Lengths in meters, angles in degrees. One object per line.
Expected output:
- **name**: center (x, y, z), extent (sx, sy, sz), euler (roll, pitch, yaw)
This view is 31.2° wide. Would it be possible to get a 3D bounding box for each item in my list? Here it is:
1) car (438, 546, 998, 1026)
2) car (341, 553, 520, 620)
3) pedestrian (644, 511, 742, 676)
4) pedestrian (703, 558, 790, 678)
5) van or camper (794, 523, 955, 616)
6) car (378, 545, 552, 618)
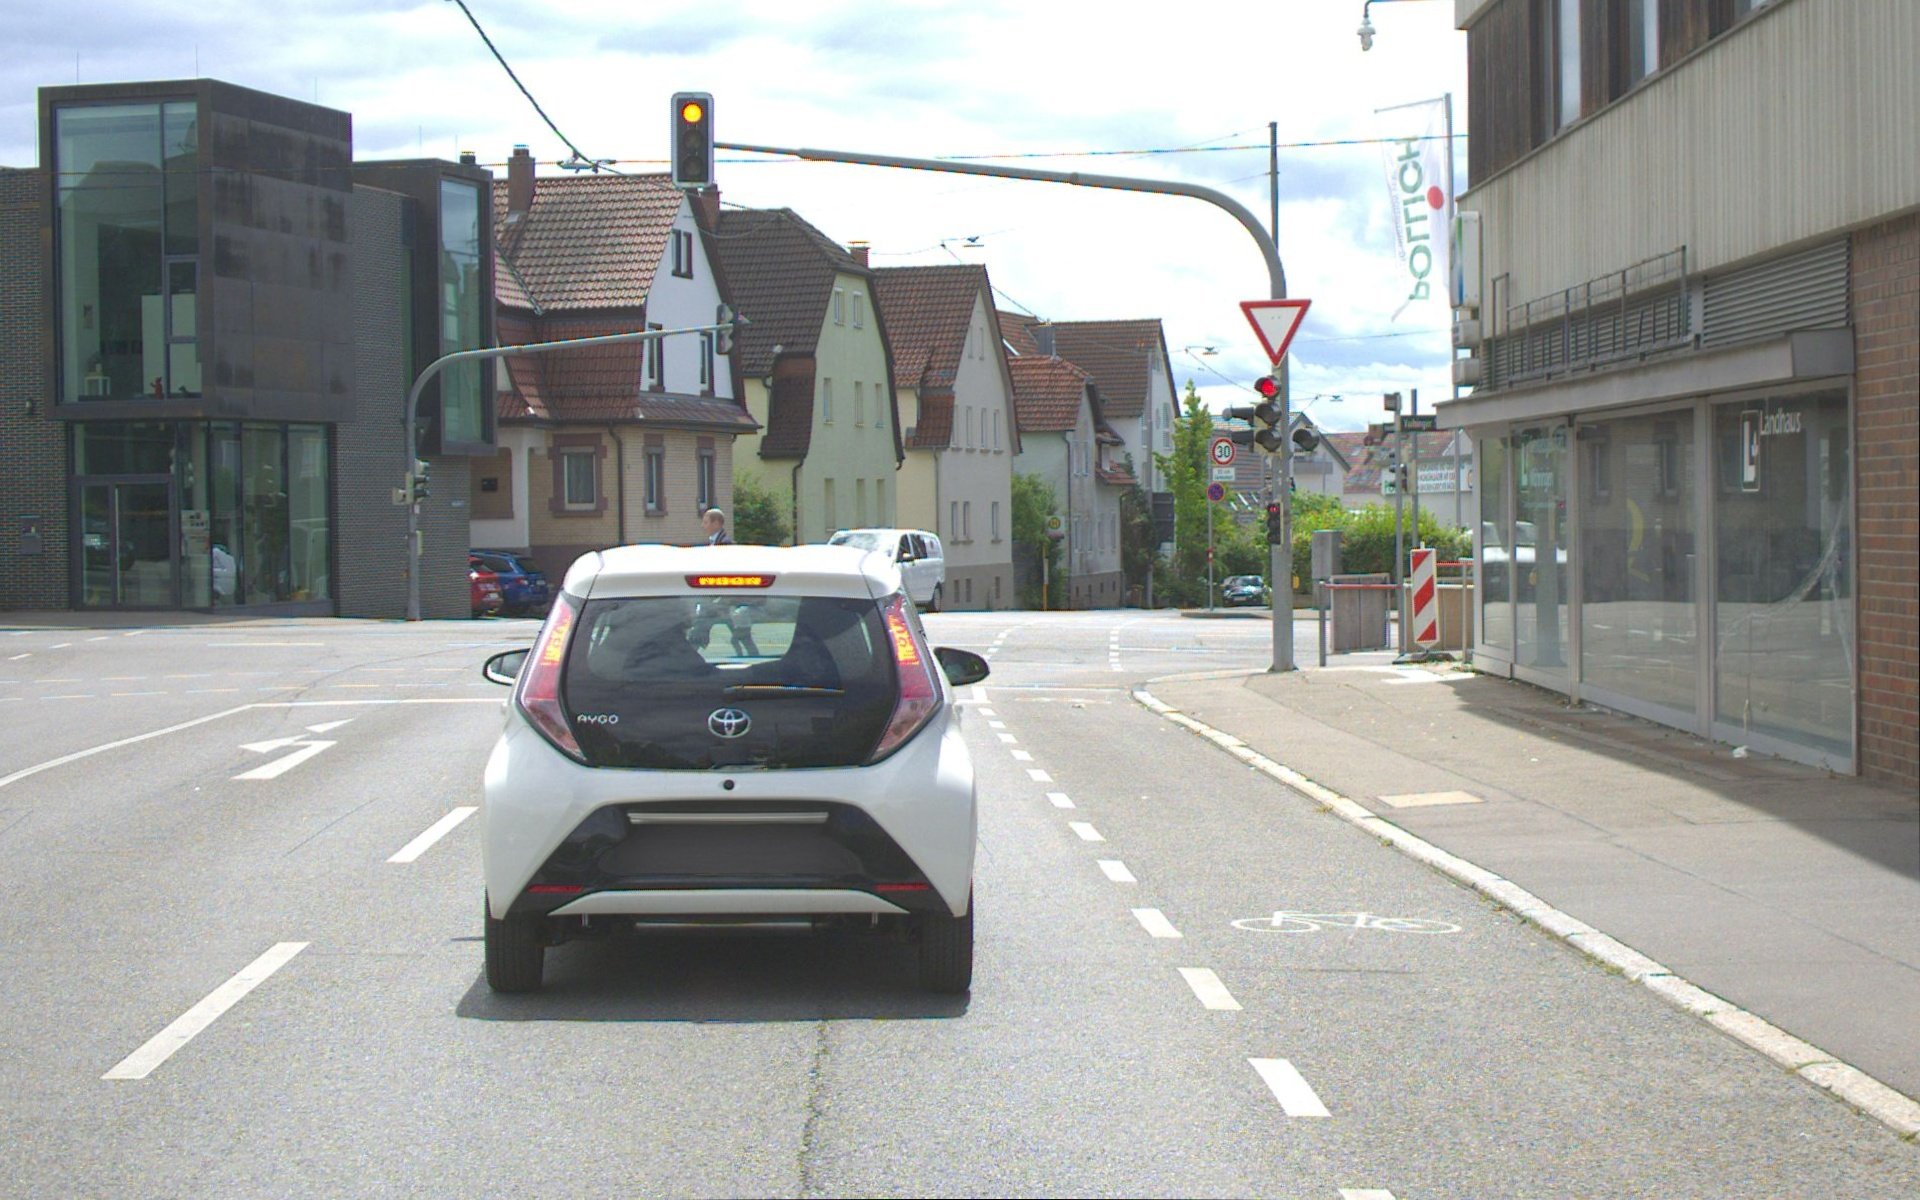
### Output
- **car**: center (-0.827, 0.552, 12.256), extent (1.697, 1.451, 3.299), euler (1, 1, -3)
- **car**: center (-11.961, -0.320, 77.725), extent (3.616, 1.414, 1.691), euler (1, 1, 11)
- **pedestrian**: center (-2.809, -0.077, 36.086), extent (0.822, 1.715, 0.818), euler (0, 1, -21)
- **pedestrian**: center (-2.210, 0.182, 35.524), extent (0.733, 1.217, 0.646), euler (0, 1, -22)
- **van or camper**: center (-1.807, -0.667, 74.667), extent (2.117, 1.919, 5.282), euler (1, 1, 14)
- **car**: center (-11.504, -0.435, 79.976), extent (3.616, 1.600, 1.691), euler (1, 1, 11)
